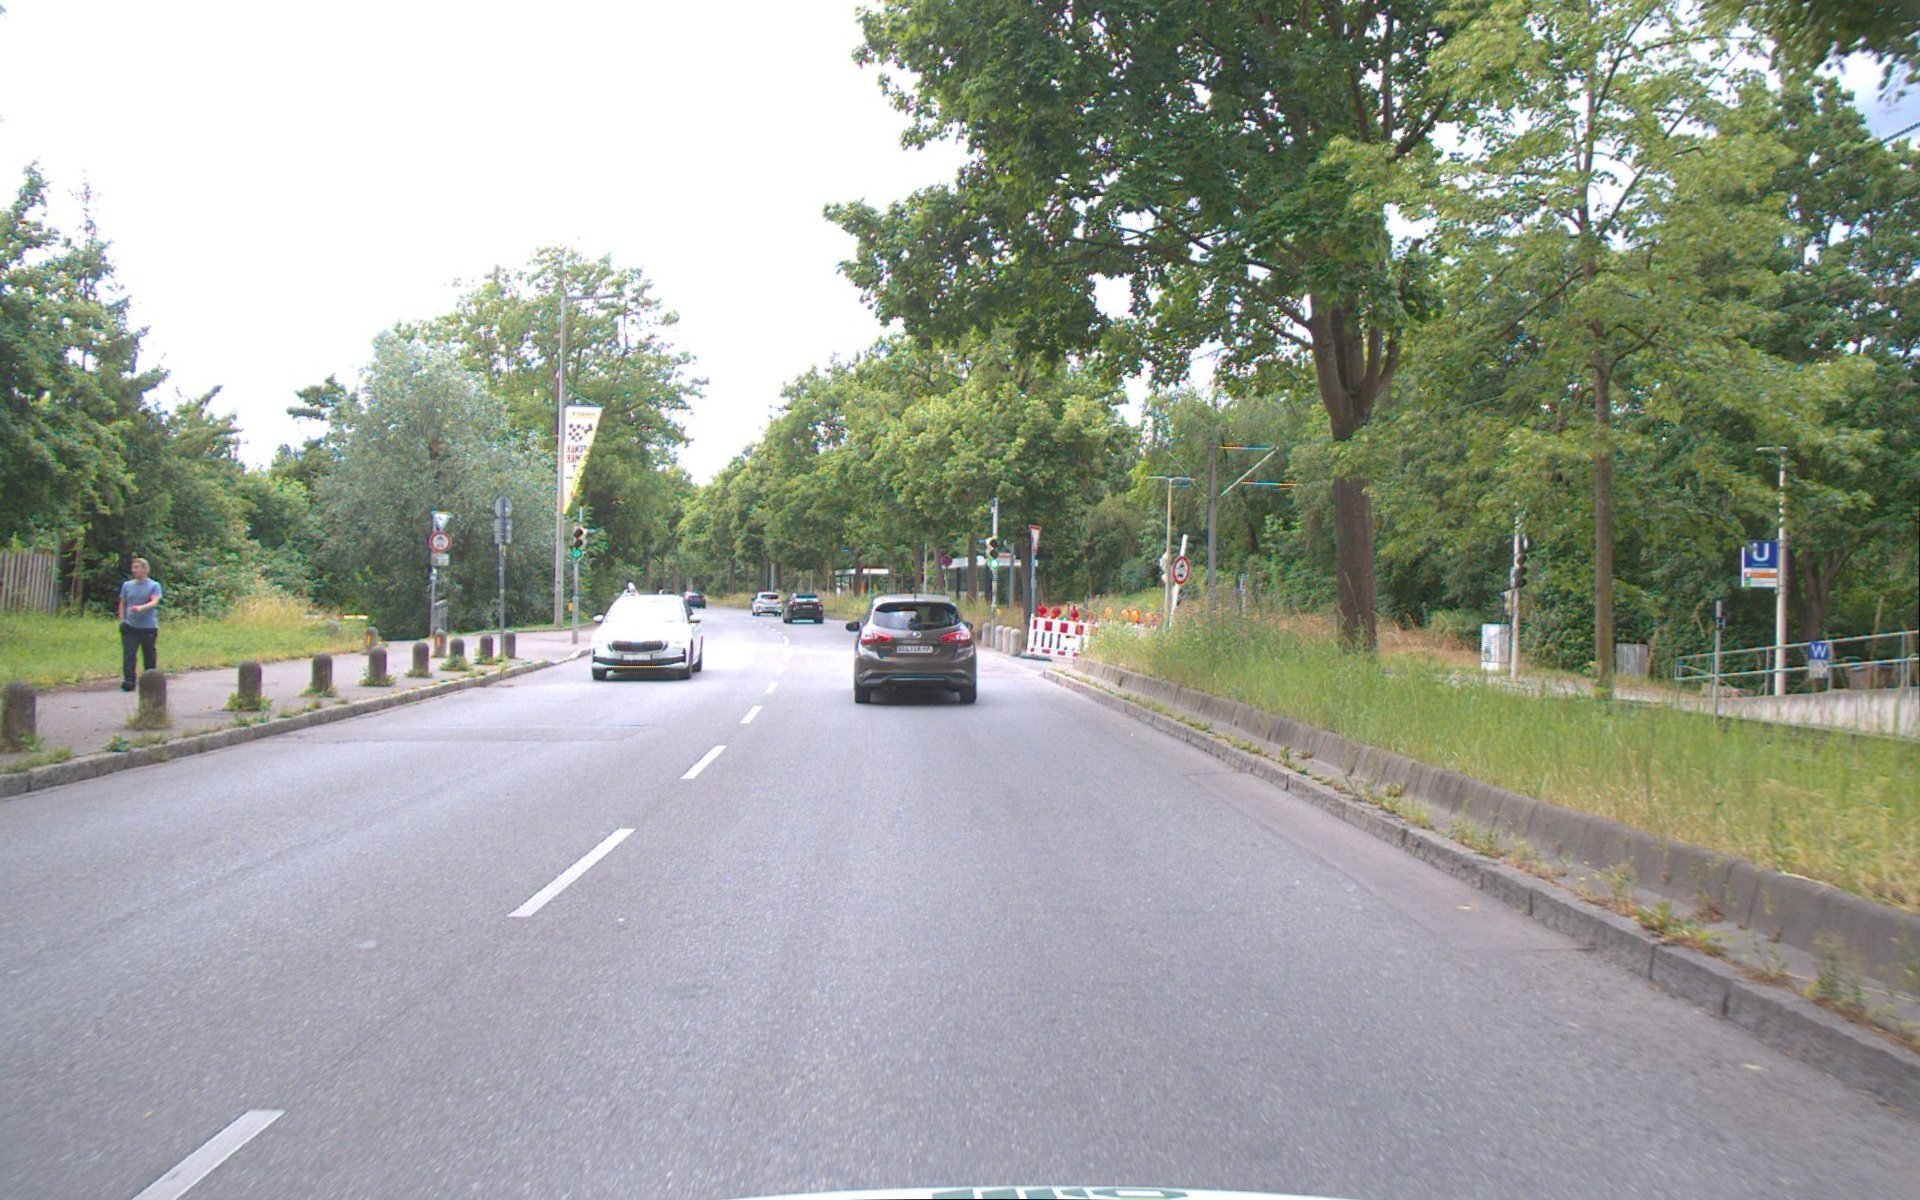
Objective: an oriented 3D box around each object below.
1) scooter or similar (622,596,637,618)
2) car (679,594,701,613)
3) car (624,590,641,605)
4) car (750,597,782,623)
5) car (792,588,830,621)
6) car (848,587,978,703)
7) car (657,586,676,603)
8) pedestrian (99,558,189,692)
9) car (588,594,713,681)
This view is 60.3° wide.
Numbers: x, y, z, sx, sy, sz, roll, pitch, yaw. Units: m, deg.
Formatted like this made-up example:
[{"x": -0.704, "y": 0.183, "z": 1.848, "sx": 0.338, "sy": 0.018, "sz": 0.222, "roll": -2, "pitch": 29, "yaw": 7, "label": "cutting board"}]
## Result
[{"x": -18.680, "y": 0.404, "z": 93.497, "sx": 0.361, "sy": 1.204, "sz": 1.284, "roll": 2, "pitch": 0, "yaw": -31, "label": "scooter or similar"}, {"x": -23.369, "y": 0.263, "z": 143.186, "sx": 1.743, "sy": 1.497, "sz": 3.992, "roll": 4, "pitch": 0, "yaw": -9, "label": "car"}, {"x": -35.589, "y": -0.296, "z": 179.581, "sx": 1.745, "sy": 1.497, "sz": 3.988, "roll": 3, "pitch": 0, "yaw": -12, "label": "car"}, {"x": -12.351, "y": 0.636, "z": 105.168, "sx": 1.743, "sy": 1.497, "sz": 3.991, "roll": 3, "pitch": 0, "yaw": -9, "label": "car"}, {"x": -7.280, "y": 0.199, "z": 80.768, "sx": 1.741, "sy": 1.497, "sz": 3.996, "roll": 3, "pitch": 0, "yaw": -5, "label": "car"}, {"x": -0.681, "y": 0.605, "z": 24.682, "sx": 1.779, "sy": 1.534, "sz": 4.000, "roll": 0, "pitch": 1, "yaw": -1, "label": "car"}, {"x": -28.281, "y": -0.512, "z": 159.340, "sx": 1.743, "sy": 1.497, "sz": 3.991, "roll": 2, "pitch": 1, "yaw": -9, "label": "car"}, {"x": -10.479, "y": 0.314, "z": 21.268, "sx": 0.675, "sy": 1.662, "sz": 0.838, "roll": 3, "pitch": 0, "yaw": -2, "label": "pedestrian"}, {"x": -5.666, "y": 0.640, "z": 30.728, "sx": 1.738, "sy": 1.464, "sz": 4.358, "roll": 0, "pitch": 0, "yaw": -4, "label": "car"}]
